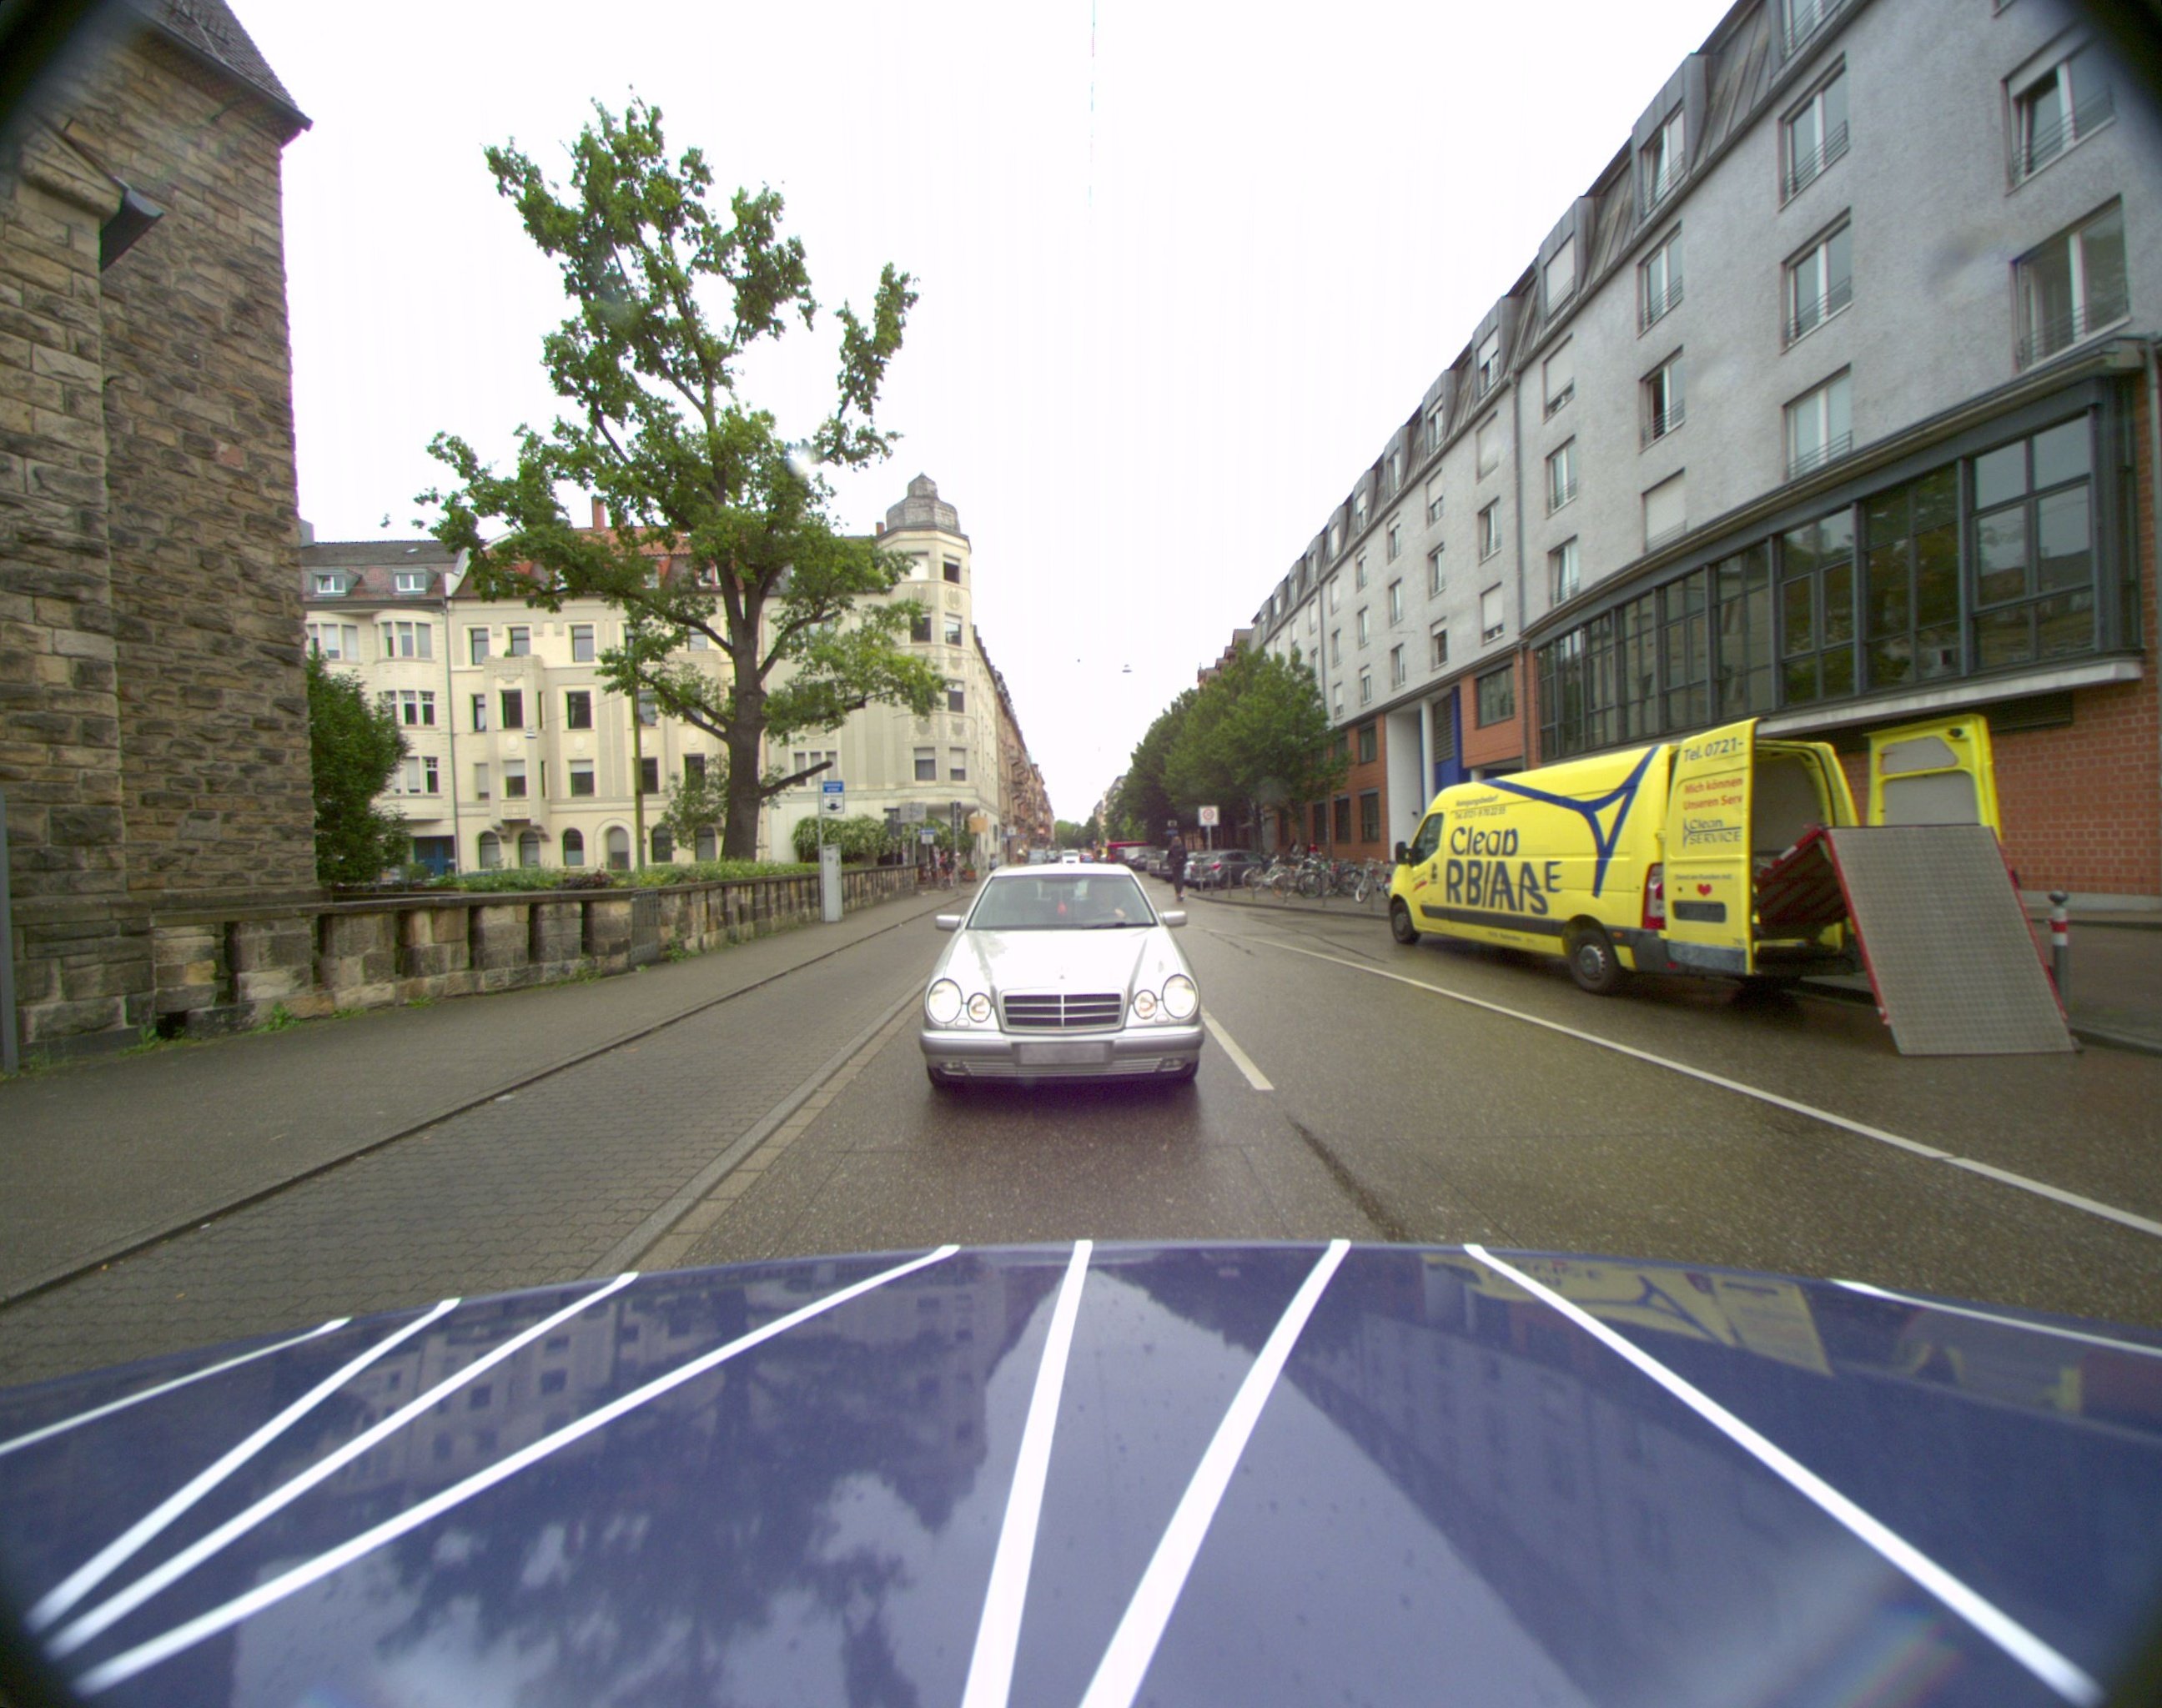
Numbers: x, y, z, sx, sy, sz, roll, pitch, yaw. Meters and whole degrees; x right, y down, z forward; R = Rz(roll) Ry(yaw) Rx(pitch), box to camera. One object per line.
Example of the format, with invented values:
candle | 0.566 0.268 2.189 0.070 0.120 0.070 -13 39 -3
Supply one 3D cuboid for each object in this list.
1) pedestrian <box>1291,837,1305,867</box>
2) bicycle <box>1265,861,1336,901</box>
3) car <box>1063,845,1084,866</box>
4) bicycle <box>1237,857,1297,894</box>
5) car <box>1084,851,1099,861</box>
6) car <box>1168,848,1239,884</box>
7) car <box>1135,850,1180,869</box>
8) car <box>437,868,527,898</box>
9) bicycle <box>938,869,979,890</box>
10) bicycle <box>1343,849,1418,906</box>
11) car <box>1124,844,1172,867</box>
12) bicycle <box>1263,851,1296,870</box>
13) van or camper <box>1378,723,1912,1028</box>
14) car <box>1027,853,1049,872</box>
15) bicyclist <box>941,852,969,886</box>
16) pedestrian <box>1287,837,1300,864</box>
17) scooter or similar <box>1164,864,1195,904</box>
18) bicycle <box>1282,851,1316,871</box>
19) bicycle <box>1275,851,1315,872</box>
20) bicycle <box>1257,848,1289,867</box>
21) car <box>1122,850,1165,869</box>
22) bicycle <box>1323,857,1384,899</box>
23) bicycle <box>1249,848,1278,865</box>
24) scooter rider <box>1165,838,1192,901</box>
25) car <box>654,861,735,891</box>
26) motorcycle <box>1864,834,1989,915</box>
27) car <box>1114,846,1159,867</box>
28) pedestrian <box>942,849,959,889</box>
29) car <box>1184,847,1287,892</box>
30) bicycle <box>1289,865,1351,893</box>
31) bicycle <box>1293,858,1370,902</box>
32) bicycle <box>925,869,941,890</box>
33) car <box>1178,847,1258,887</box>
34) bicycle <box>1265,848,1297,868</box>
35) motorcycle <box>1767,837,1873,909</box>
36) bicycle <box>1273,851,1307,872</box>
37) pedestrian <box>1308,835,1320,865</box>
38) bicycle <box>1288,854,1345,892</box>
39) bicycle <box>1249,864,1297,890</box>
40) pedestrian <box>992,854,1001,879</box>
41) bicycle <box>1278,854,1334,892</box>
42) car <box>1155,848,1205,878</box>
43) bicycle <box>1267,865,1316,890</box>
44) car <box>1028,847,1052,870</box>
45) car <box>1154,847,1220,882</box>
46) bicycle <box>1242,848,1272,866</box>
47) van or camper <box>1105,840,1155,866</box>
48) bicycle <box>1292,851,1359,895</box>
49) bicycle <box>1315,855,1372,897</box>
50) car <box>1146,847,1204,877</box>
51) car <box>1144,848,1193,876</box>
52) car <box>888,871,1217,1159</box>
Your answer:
pedestrian | 11.819 -0.131 41.314 0.605 1.601 0.372 -2 1 -1
bicycle | 6.129 0.749 21.245 1.800 0.987 0.520 -3 1 -2
car | -0.699 0.130 77.527 1.998 2.002 4.000 -1 1 1
bicycle | 6.103 0.687 24.924 1.812 1.099 0.472 -3 1 -5
car | 1.329 0.258 98.143 1.651 1.301 3.311 -1 0 -3
car | 5.600 0.536 34.589 3.084 1.494 1.449 -3 1 -40
car | 6.126 0.419 60.407 1.685 1.482 3.799 0 1 40
car | -29.404 1.408 37.362 3.270 1.401 1.448 -1 1 3
bicycle | -5.561 1.148 34.555 1.781 0.879 0.536 -2 1 -15
bicycle | 7.504 0.568 19.001 1.922 1.209 0.768 -6 3 -35
car | 5.975 0.125 67.154 4.338 1.884 1.685 -1 1 -41
bicycle | 10.466 0.343 40.018 1.590 0.979 0.445 -2 1 -8
van or camper | 6.047 0.172 9.526 2.201 2.596 5.941 -1 0 -1
car | -3.141 0.637 56.433 1.447 1.348 3.204 -1 0 0
bicyclist | -5.717 0.681 34.501 1.135 1.521 0.536 -2 1 -15
pedestrian | 12.654 -0.234 45.251 0.571 1.588 0.533 -2 1 1
scooter or similar | 3.044 0.909 23.597 0.702 1.158 1.385 -1 1 -2
bicycle | 11.098 0.360 38.648 1.590 0.979 0.445 -2 1 -8
bicycle | 10.602 0.386 37.630 1.851 0.979 0.445 -2 1 -8
bicycle | 10.559 0.198 41.803 1.590 0.979 0.465 -2 1 -8
car | 5.188 0.448 62.922 1.685 1.482 3.799 0 1 40
bicycle | 7.494 0.648 20.913 1.462 1.058 0.418 -3 1 4
bicycle | 10.790 0.138 44.973 1.590 0.979 0.465 -2 1 -8
scooter rider | 3.029 0.488 23.665 0.712 1.924 0.503 -1 1 -2
car | -19.241 1.097 37.861 3.270 1.401 1.448 -1 1 3
motorcycle | 13.281 0.289 12.001 0.524 1.174 1.760 -2 1 19
car | 5.186 0.225 70.666 4.338 1.822 1.571 -1 1 -41
pedestrian | -6.162 0.715 35.979 0.646 1.862 0.693 -1 1 0
car | 5.916 0.543 29.054 3.629 1.494 1.736 -3 2 -31
bicycle | 7.272 0.755 23.136 1.773 0.757 0.456 -3 1 -13
bicycle | 6.707 0.698 20.408 1.858 1.067 0.609 -3 1 5
bicycle | -7.314 1.239 37.667 0.390 0.888 2.023 -1 3 0
car | 5.791 0.543 31.980 3.083 1.494 1.449 -3 1 -31
bicycle | 10.676 0.216 40.638 1.590 0.979 0.445 -2 1 -8
motorcycle | 13.068 0.294 13.510 0.524 1.174 2.006 -2 1 19
bicycle | 10.474 0.380 38.103 1.590 0.979 0.445 -2 1 -8
pedestrian | 12.606 -0.197 41.105 0.514 1.601 0.425 -2 1 1
bicycle | 7.374 0.586 23.792 1.611 1.099 0.519 -3 1 -13
bicycle | 6.560 0.791 26.008 1.473 0.800 0.497 -3 1 3
pedestrian | -4.960 0.744 44.783 0.482 1.452 0.392 -1 1 -1
bicycle | 7.221 0.606 24.439 1.610 1.099 0.520 -3 1 -5
car | 5.310 0.484 40.705 2.506 1.442 1.191 -3 1 -40
bicycle | 7.039 0.785 25.381 1.473 0.717 0.497 -3 1 3
car | -3.312 0.318 61.502 1.726 1.794 3.462 -1 0 0
car | 5.239 0.491 37.473 3.084 1.543 1.449 -3 1 -40
bicycle | 10.205 0.166 44.077 1.590 0.979 0.465 -2 1 -8
van or camper | 4.961 -0.123 76.586 4.604 2.597 1.999 -1 1 -27
bicycle | 7.254 0.564 22.544 1.815 1.187 0.519 -3 1 -13
bicycle | 7.471 0.625 21.687 1.461 1.096 0.462 -3 1 14
car | 5.359 0.461 43.213 2.985 1.546 1.369 -3 1 -29
car | 5.304 0.471 46.022 2.685 1.546 1.148 -3 1 -29
car | -0.154 0.931 6.173 1.764 1.420 3.999 -2 0 0
